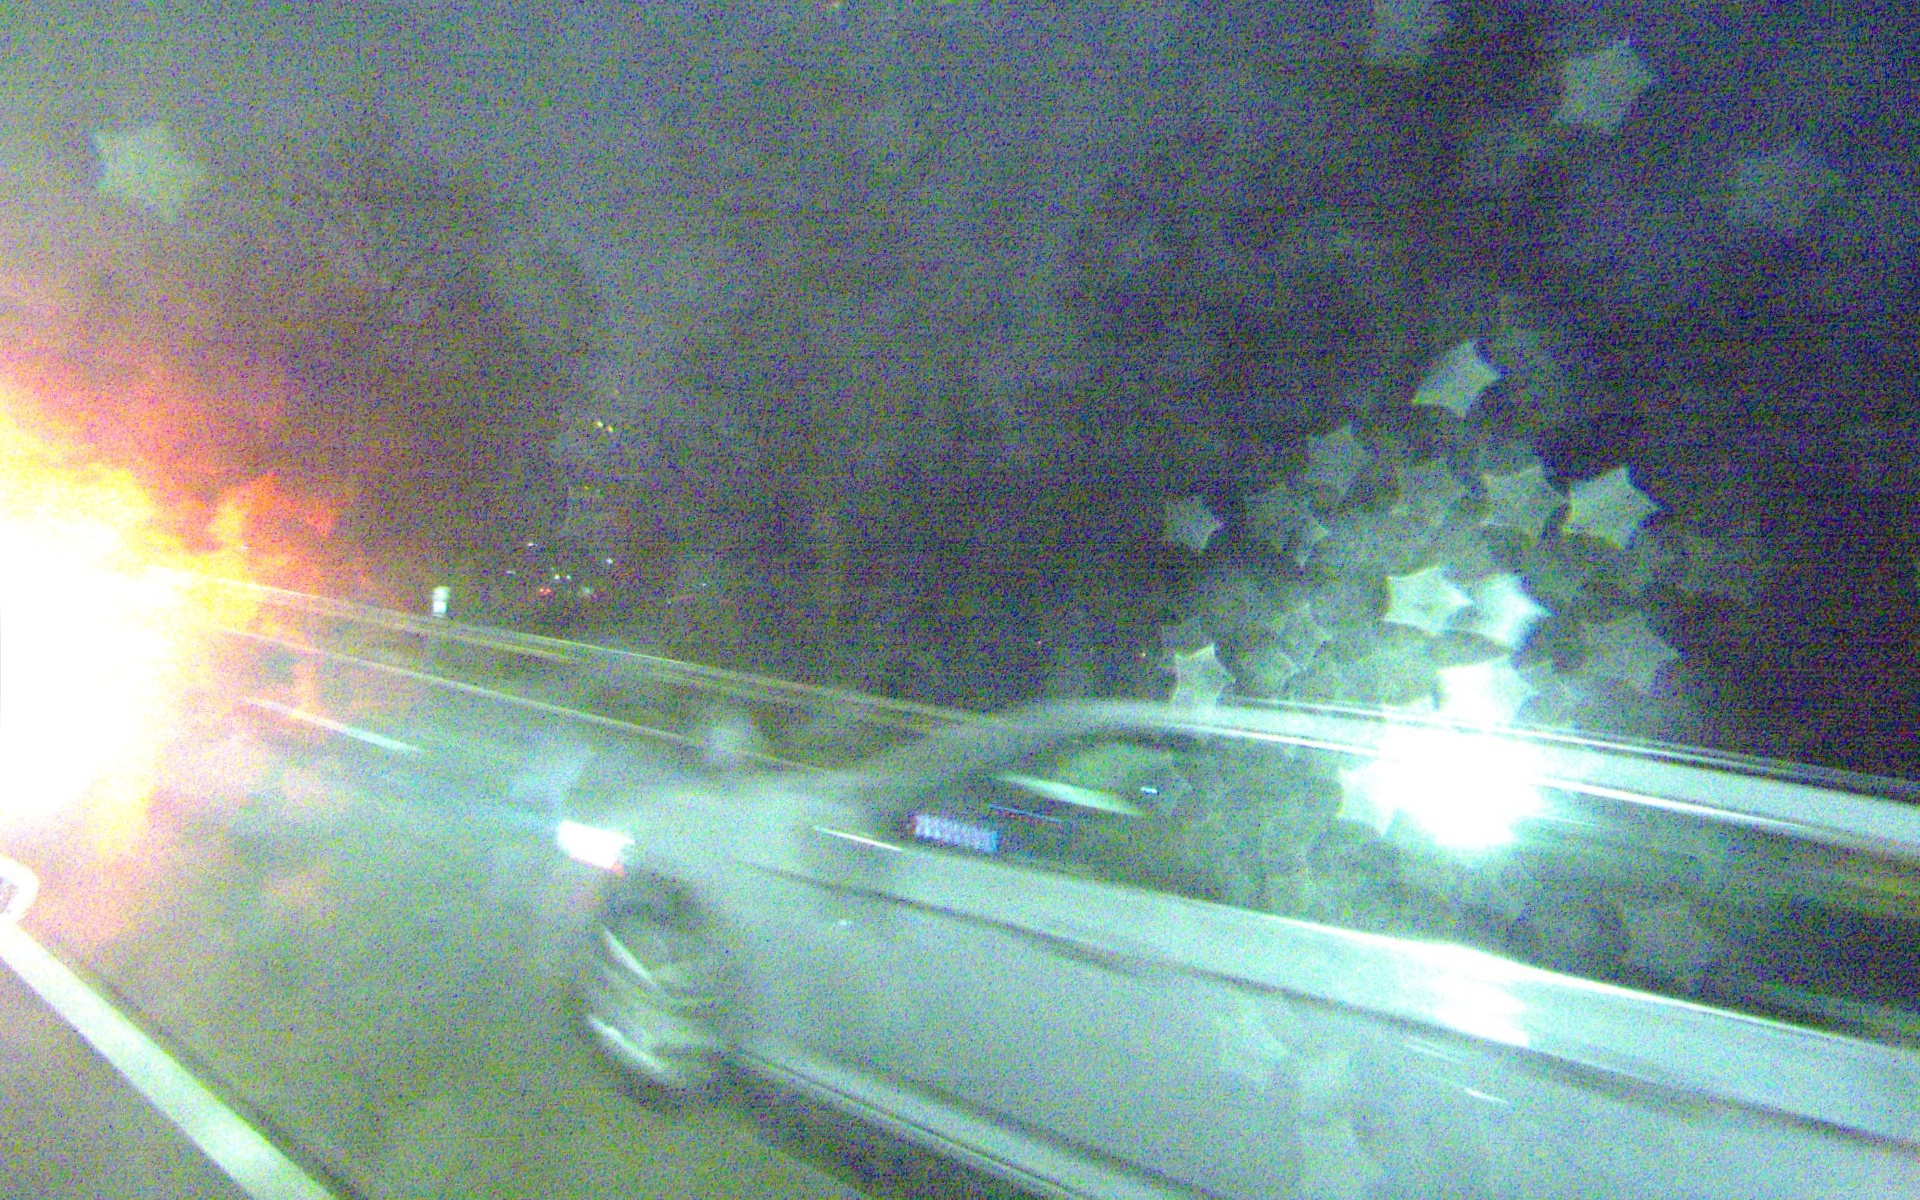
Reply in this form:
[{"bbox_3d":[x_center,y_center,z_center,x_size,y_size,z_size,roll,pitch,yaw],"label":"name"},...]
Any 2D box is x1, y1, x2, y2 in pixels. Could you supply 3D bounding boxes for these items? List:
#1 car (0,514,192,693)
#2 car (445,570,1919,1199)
[{"bbox_3d":[-9.803,-0.146,10.060,4.647,1.465,1.735,6,-2,32],"label":"car"},{"bbox_3d":[0.619,0.918,3.055,4.495,1.502,1.824,6,-2,34],"label":"car"}]
